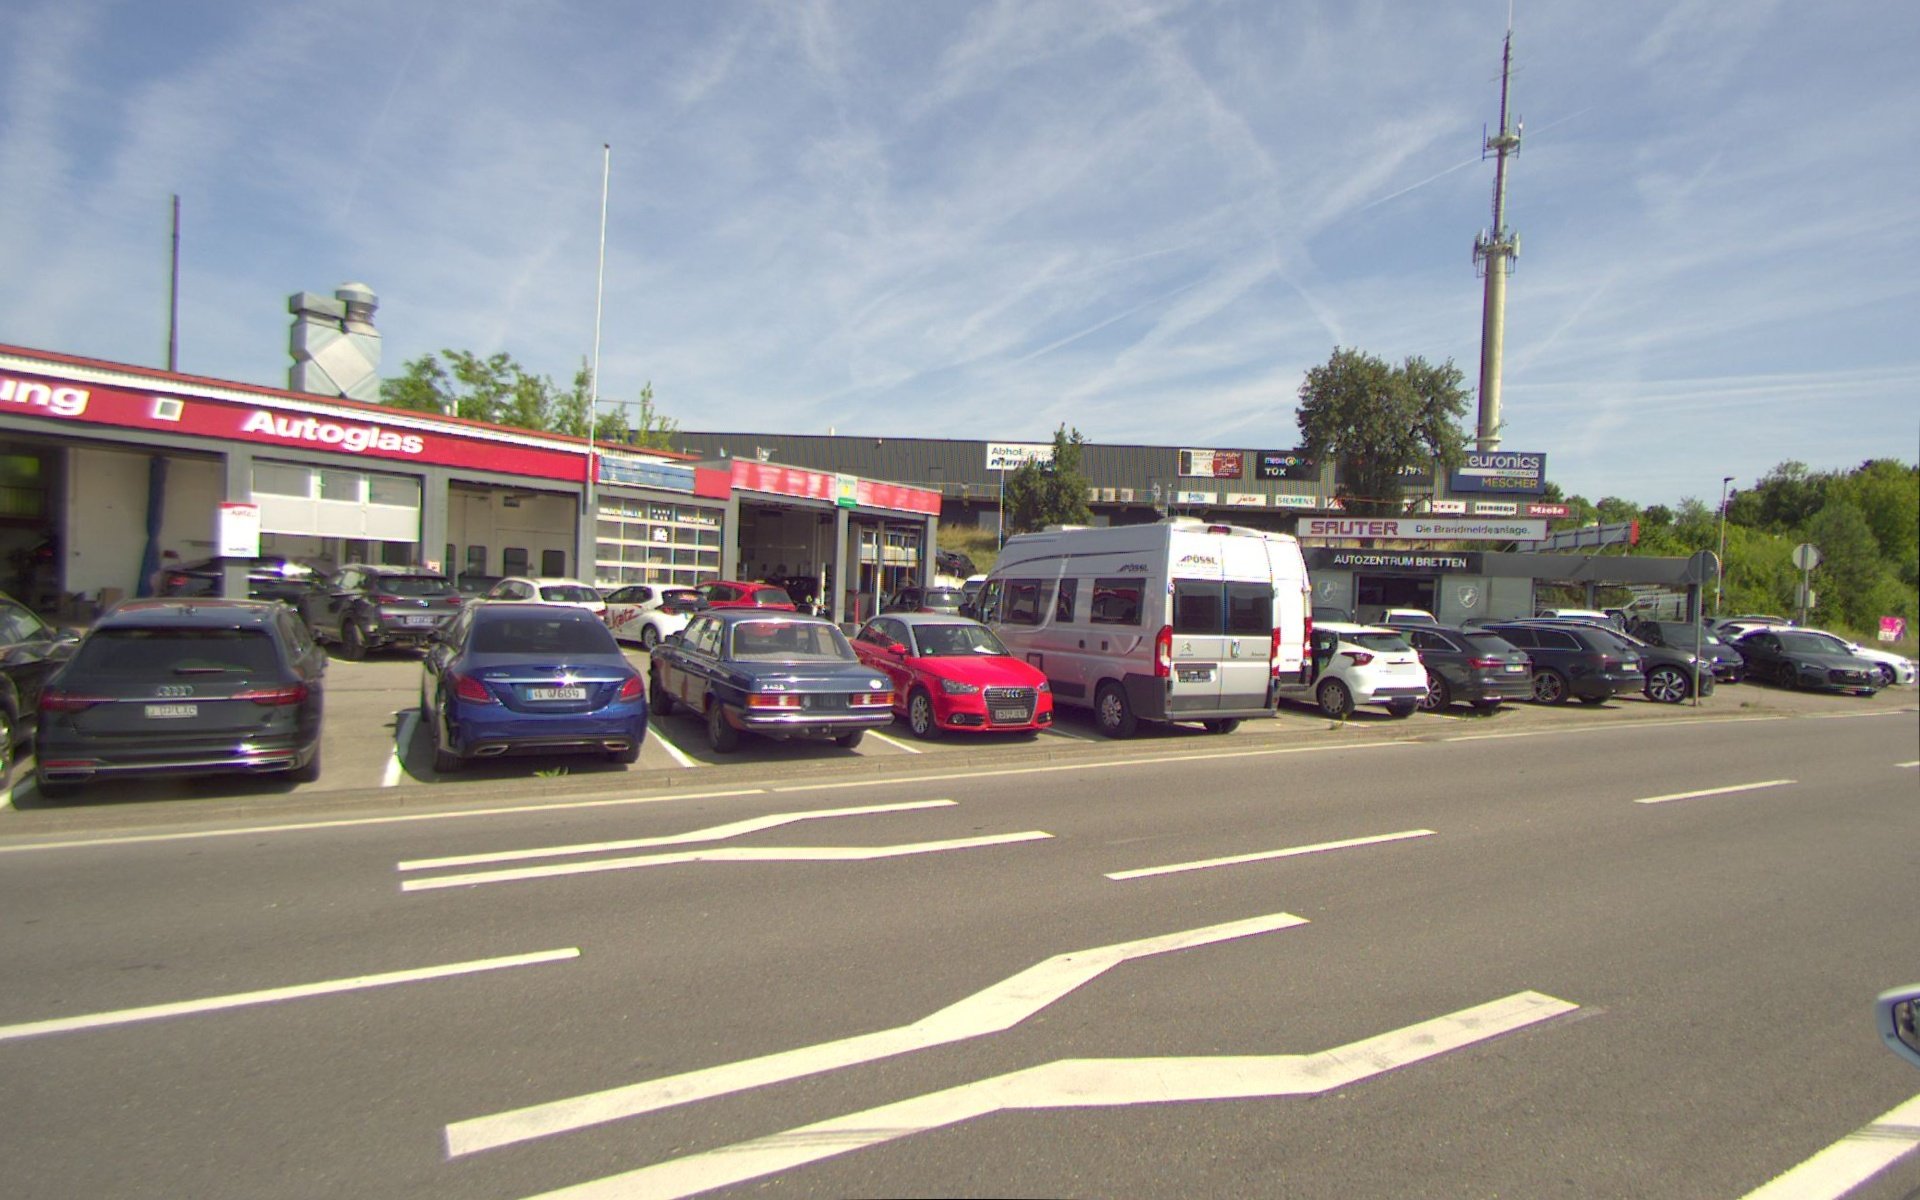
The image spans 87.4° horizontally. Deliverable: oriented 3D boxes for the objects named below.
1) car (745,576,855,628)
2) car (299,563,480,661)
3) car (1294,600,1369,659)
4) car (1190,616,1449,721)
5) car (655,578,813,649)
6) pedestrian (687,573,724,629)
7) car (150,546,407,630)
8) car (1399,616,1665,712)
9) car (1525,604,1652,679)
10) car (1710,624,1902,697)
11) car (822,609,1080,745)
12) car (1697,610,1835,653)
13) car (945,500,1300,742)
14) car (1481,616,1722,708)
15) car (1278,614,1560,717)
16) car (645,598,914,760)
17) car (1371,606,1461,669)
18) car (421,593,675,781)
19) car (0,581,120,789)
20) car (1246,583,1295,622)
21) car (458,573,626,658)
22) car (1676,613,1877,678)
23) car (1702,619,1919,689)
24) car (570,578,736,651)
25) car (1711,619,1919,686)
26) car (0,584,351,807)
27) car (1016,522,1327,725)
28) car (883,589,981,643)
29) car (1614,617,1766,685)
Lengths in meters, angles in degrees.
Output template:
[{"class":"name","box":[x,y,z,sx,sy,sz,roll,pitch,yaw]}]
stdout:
[{"class":"car","box":[-5.976,0.064,37.338,4.038,1.831,1.744,2,0,38]},{"class":"car","box":[-10.825,0.170,18.950,3.943,1.641,1.865,2,0,43]},{"class":"car","box":[11.291,0.836,30.759,1.779,1.544,4.345,3,2,16]},{"class":"car","box":[6.012,1.081,17.252,1.858,1.489,3.971,2,0,-28]},{"class":"car","box":[-5.870,0.313,25.923,3.937,1.639,1.910,2,0,38]},{"class":"pedestrian","box":[-8.152,0.030,32.220,0.855,1.750,0.739,5,2,44]},{"class":"car","box":[-14.911,-0.213,22.143,4.439,1.676,1.851,2,0,-44]},{"class":"car","box":[10.922,1.149,19.455,2.007,1.550,4.015,2,0,-30]},{"class":"car","box":[17.791,1.094,28.697,1.855,1.772,4.470,3,2,16]},{"class":"car","box":[22.105,1.520,26.529,1.934,1.455,4.642,3,2,13]},{"class":"car","box":[-0.287,0.895,13.313,1.805,1.450,3.922,2,0,-28]},{"class":"car","box":[37.479,1.434,46.843,4.544,1.548,1.915,5,2,16]},{"class":"car","box":[2.025,0.247,14.605,2.150,2.809,5.544,2,0,-28]},{"class":"car","box":[13.489,1.227,21.345,4.111,1.644,2.025,2,0,33]},{"class":"car","box":[8.238,1.101,18.447,2.006,1.550,4.345,2,0,-31]},{"class":"car","box":[-2.299,0.761,11.730,1.851,1.487,4.230,2,0,-28]},{"class":"car","box":[13.389,1.044,29.742,1.791,1.544,4.144,3,2,16]},{"class":"car","box":[-4.330,0.702,10.173,1.883,1.473,3.968,2,0,-29]},{"class":"car","box":[-8.362,0.593,7.849,1.925,1.519,3.853,2,0,-27]},{"class":"car","box":[14.213,0.141,46.029,1.960,1.583,4.072,4,0,17]},{"class":"car","box":[-9.054,0.277,21.628,1.976,1.628,3.946,1,0,-45]},{"class":"car","box":[27.159,1.471,33.617,4.702,1.647,1.932,5,1,18]},{"class":"car","box":[24.821,1.521,29.375,4.629,1.495,1.890,5,2,27]},{"class":"car","box":[-7.353,0.311,23.922,3.882,1.540,1.876,2,0,38]},{"class":"car","box":[26.596,1.570,31.300,4.624,1.533,1.955,5,2,20]},{"class":"car","box":[-6.576,0.638,8.796,1.923,1.471,3.969,2,0,-29]},{"class":"car","box":[3.323,0.319,17.305,2.090,2.876,5.685,1,0,-28]},{"class":"car","box":[-0.985,0.487,32.700,1.857,1.629,4.082,2,0,-22]},{"class":"car","box":[20.087,1.335,27.872,1.762,1.507,4.346,3,2,13]}]
